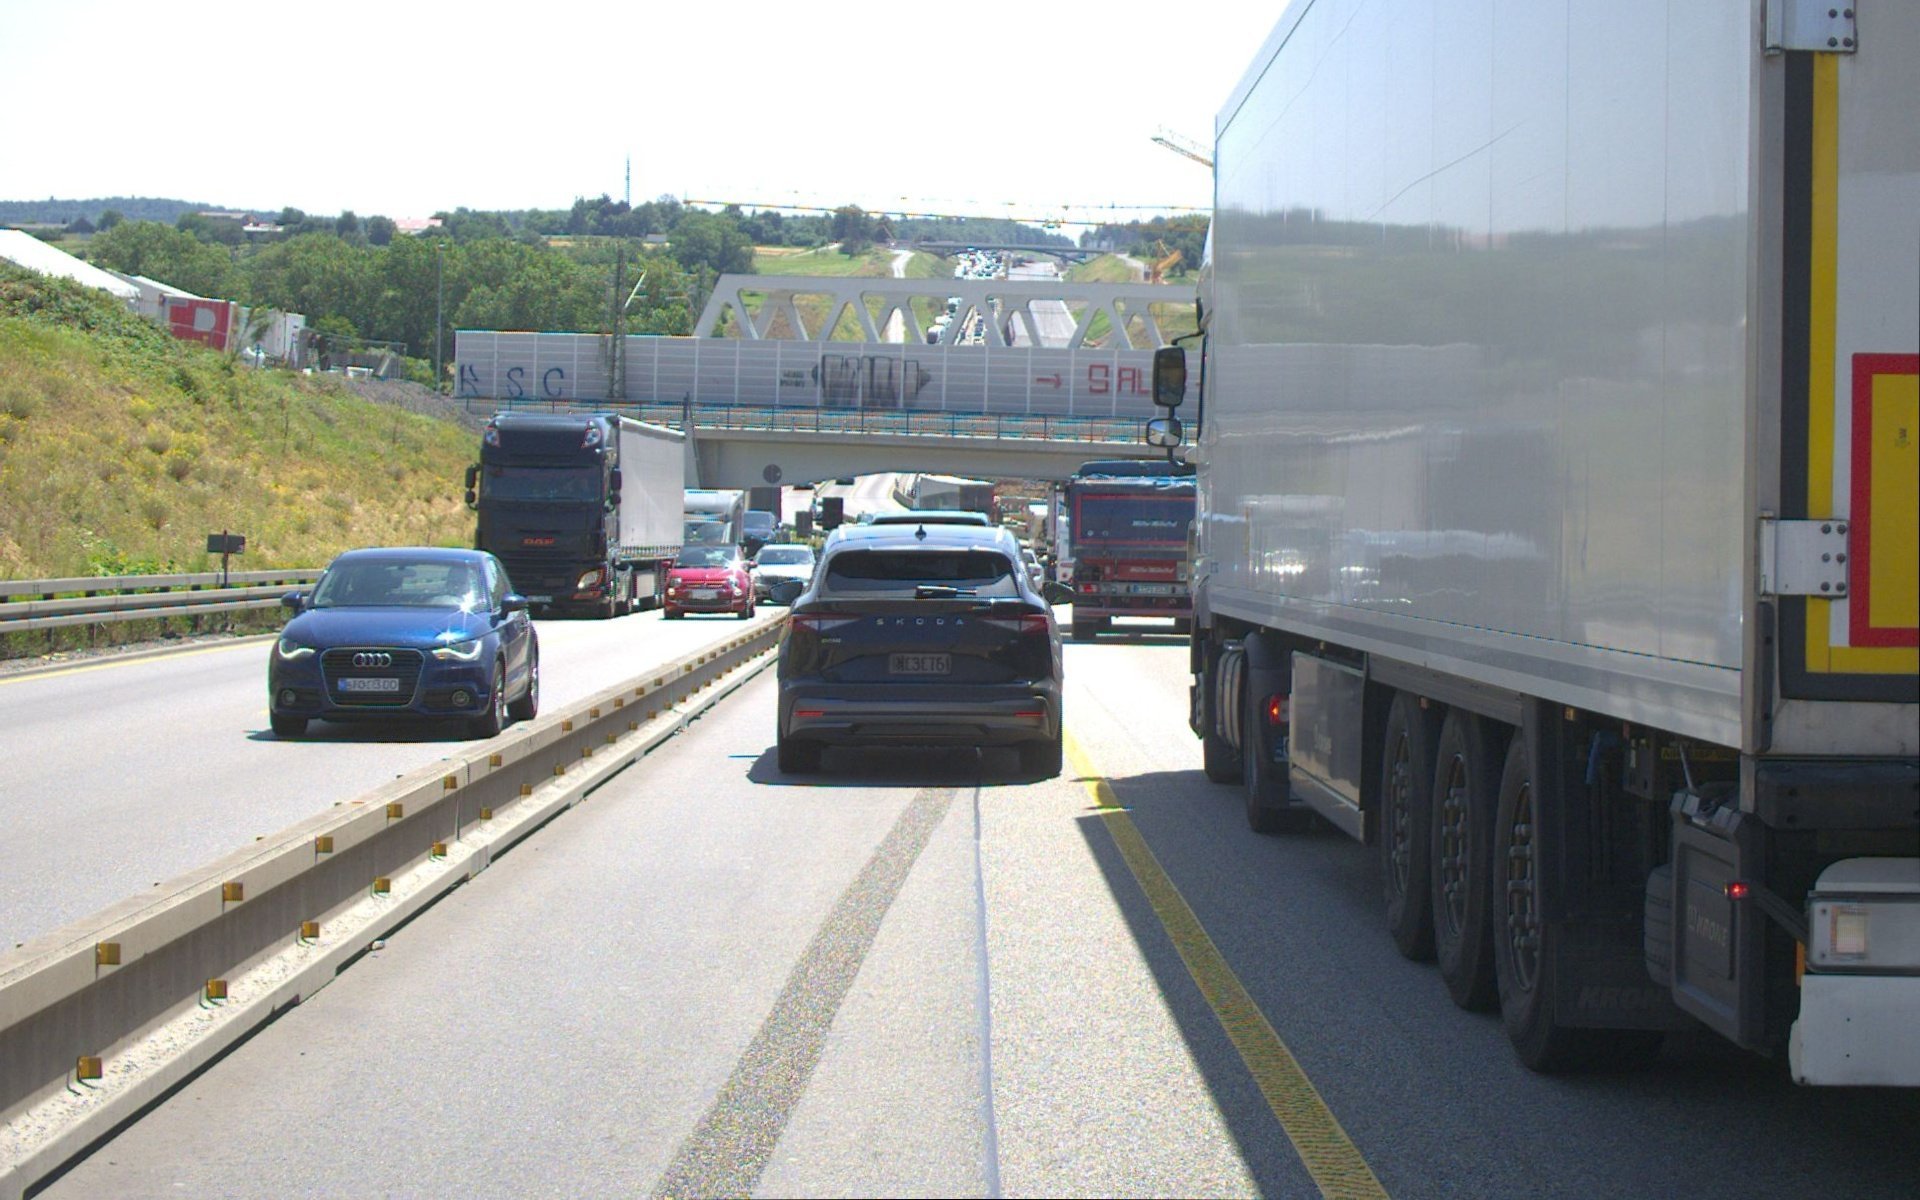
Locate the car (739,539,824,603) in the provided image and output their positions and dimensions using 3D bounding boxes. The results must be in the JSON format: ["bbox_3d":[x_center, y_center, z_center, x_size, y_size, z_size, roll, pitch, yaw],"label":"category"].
[{"bbox_3d":[-4.280,-0.728,82.993,1.826,1.481,4.196,1,1,0],"label":"car"}]

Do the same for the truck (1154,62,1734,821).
[{"bbox_3d":[2.743,-0.893,20.952,2.776,4.044,4.905,1,1,0],"label":"truck"}]

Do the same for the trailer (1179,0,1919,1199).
[{"bbox_3d":[2.744,-0.716,13.424,2.801,4.044,14.117,1,1,0],"label":"trailer"}]

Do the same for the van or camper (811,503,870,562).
[{"bbox_3d":[-5.106,-2.880,147.562,2.216,2.472,4.750,1,1,2],"label":"van or camper"}]

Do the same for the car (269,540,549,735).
[{"bbox_3d":[-4.240,0.243,26.925,1.689,1.398,3.687,1,1,-2],"label":"car"}]

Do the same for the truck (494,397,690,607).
[{"bbox_3d":[-7.791,-2.052,74.641,2.767,4.074,13.807,1,1,0],"label":"truck"}]

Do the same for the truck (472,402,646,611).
[{"bbox_3d":[-7.772,-1.801,67.192,2.767,3.871,4.964,1,1,0],"label":"truck"}]

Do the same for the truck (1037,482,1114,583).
[{"bbox_3d":[5.089,-2.987,152.686,3.176,4.303,9.257,1,1,1],"label":"truck"}]

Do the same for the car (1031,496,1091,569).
[{"bbox_3d":[3.273,-2.189,111.710,1.661,2.262,3.797,2,1,-2],"label":"car"}]

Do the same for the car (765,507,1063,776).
[{"bbox_3d":[-0.286,0.210,22.585,1.800,1.615,3.298,0,2,0],"label":"car"}]

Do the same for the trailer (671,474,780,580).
[{"bbox_3d":[-6.783,-2.123,100.863,2.268,2.872,13.043,1,1,0],"label":"trailer"}]

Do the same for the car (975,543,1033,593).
[{"bbox_3d":[1.249,-0.931,98.534,1.491,1.326,3.244,2,1,-2],"label":"car"}]

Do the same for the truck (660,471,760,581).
[{"bbox_3d":[-6.774,-2.008,93.665,2.268,2.872,5.851,1,1,0],"label":"truck"}]

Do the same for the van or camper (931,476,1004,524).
[{"bbox_3d":[0.521,-7.476,256.206,3.942,3.408,8.409,1,2,-11],"label":"van or camper"}]

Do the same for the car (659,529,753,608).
[{"bbox_3d":[-4.909,-0.636,66.817,1.590,1.481,3.295,1,1,0],"label":"car"}]

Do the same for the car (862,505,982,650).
[{"bbox_3d":[-0.464,-0.315,44.243,1.475,1.789,3.298,1,1,0],"label":"car"}]

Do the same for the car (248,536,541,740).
[{"bbox_3d":[-4.255,0.237,26.356,1.684,1.425,3.850,1,1,-1],"label":"car"}]

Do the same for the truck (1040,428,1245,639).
[{"bbox_3d":[2.878,-1.125,57.938,2.814,3.124,12.838,1,1,0],"label":"truck"}]

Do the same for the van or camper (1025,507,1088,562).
[{"bbox_3d":[6.182,-4.262,221.859,3.943,3.408,8.406,1,2,1],"label":"van or camper"}]
